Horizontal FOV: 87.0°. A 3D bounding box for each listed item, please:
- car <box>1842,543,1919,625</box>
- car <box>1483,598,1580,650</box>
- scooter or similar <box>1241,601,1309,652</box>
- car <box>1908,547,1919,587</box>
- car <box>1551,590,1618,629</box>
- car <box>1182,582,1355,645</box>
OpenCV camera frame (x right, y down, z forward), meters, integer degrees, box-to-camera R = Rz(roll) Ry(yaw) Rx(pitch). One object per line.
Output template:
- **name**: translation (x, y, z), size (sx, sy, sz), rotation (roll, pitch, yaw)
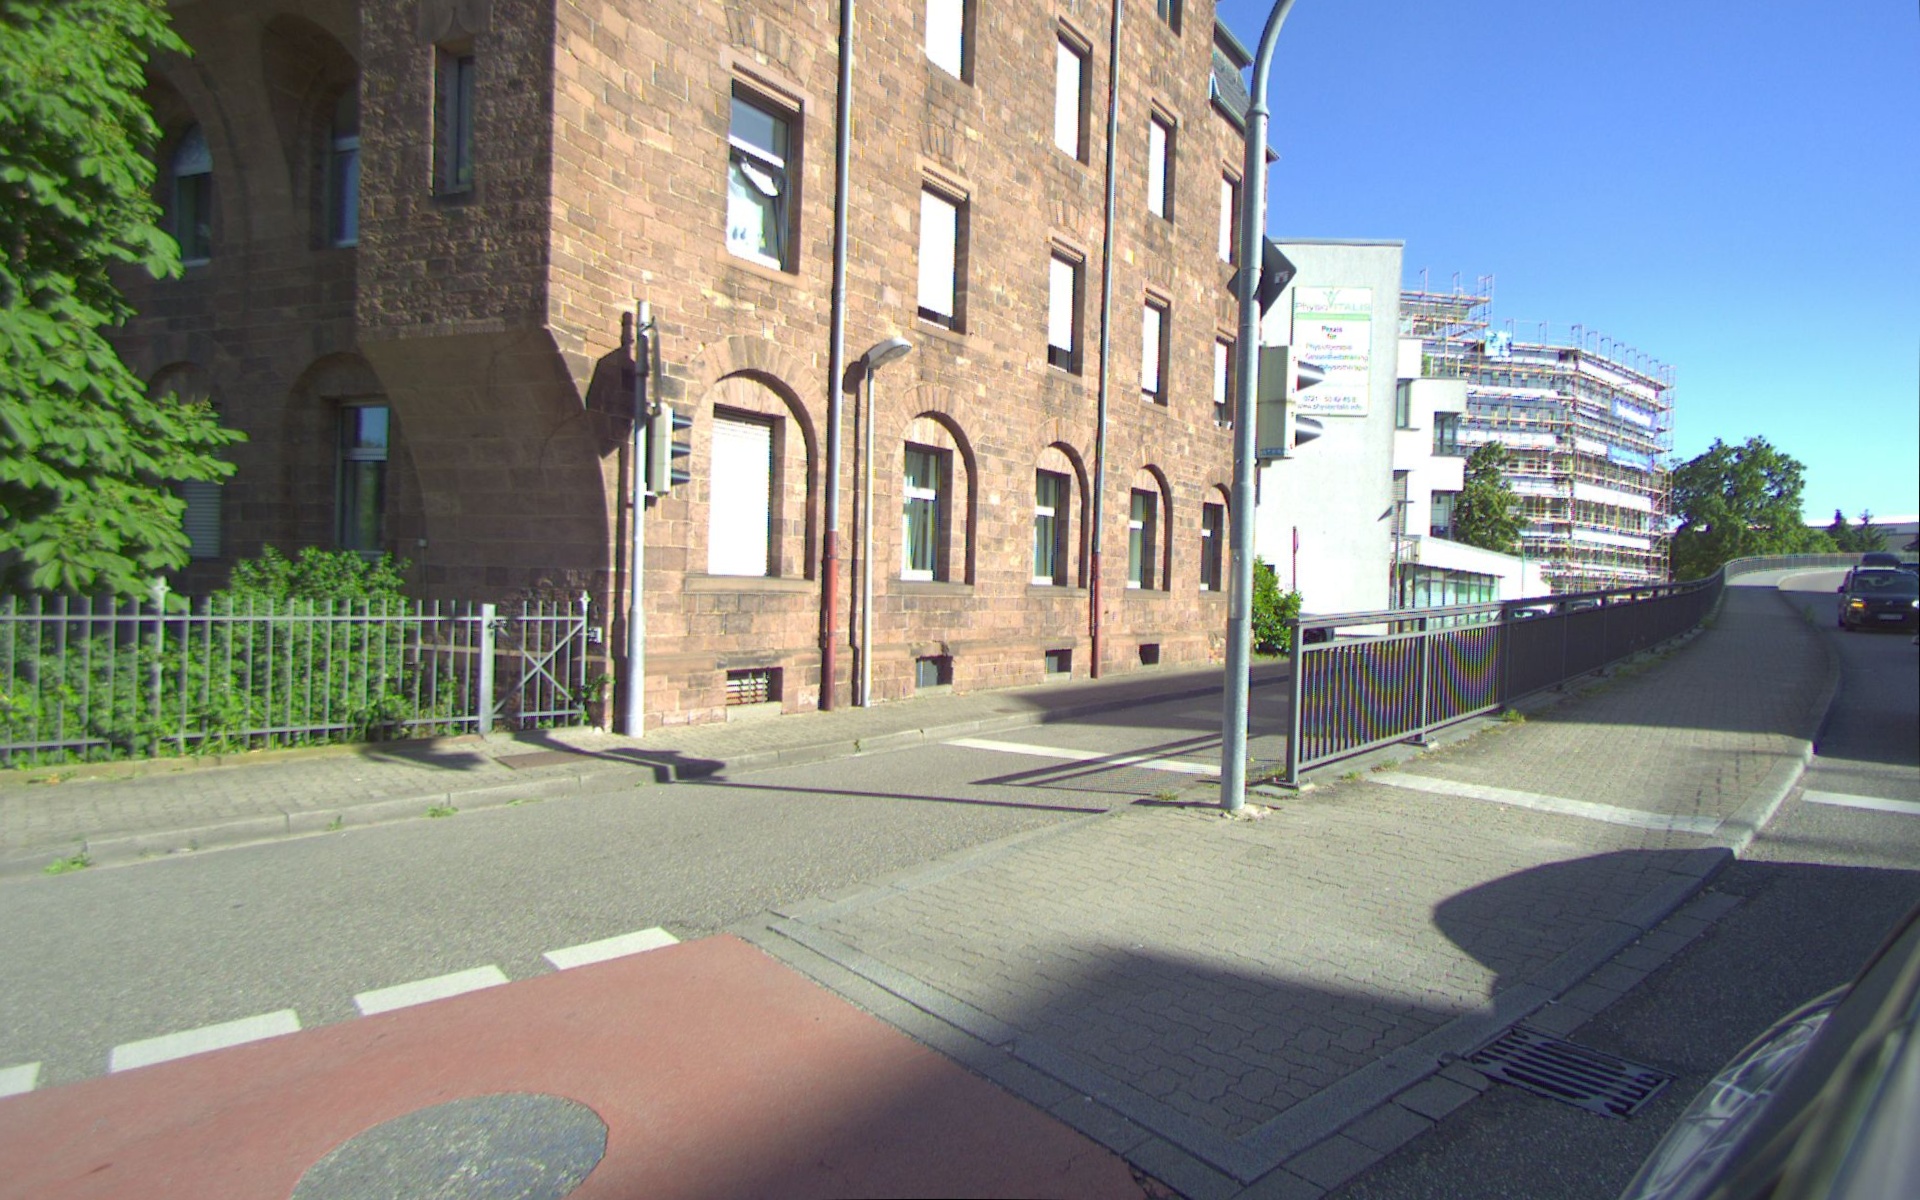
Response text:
- **car**: translation (27.238, -0.507, 29.573), size (1.901, 2.241, 4.537), rotation (1, 2, 37)
- **car**: translation (19.115, 0.746, 33.761), size (1.844, 1.448, 4.611), rotation (1, 3, 42)
- **scooter or similar**: translation (7.900, 0.654, 25.376), size (1.453, 1.234, 0.775), rotation (-1, -1, 35)
- **car**: translation (51.300, -1.671, 53.041), size (1.991, 1.959, 4.782), rotation (3, 1, 39)
- **car**: translation (27.584, 0.398, 44.650), size (1.843, 1.554, 3.940), rotation (3, 2, 41)
- **car**: translation (9.092, 0.369, 30.059), size (4.562, 1.789, 1.828), rotation (0, 2, 2)
